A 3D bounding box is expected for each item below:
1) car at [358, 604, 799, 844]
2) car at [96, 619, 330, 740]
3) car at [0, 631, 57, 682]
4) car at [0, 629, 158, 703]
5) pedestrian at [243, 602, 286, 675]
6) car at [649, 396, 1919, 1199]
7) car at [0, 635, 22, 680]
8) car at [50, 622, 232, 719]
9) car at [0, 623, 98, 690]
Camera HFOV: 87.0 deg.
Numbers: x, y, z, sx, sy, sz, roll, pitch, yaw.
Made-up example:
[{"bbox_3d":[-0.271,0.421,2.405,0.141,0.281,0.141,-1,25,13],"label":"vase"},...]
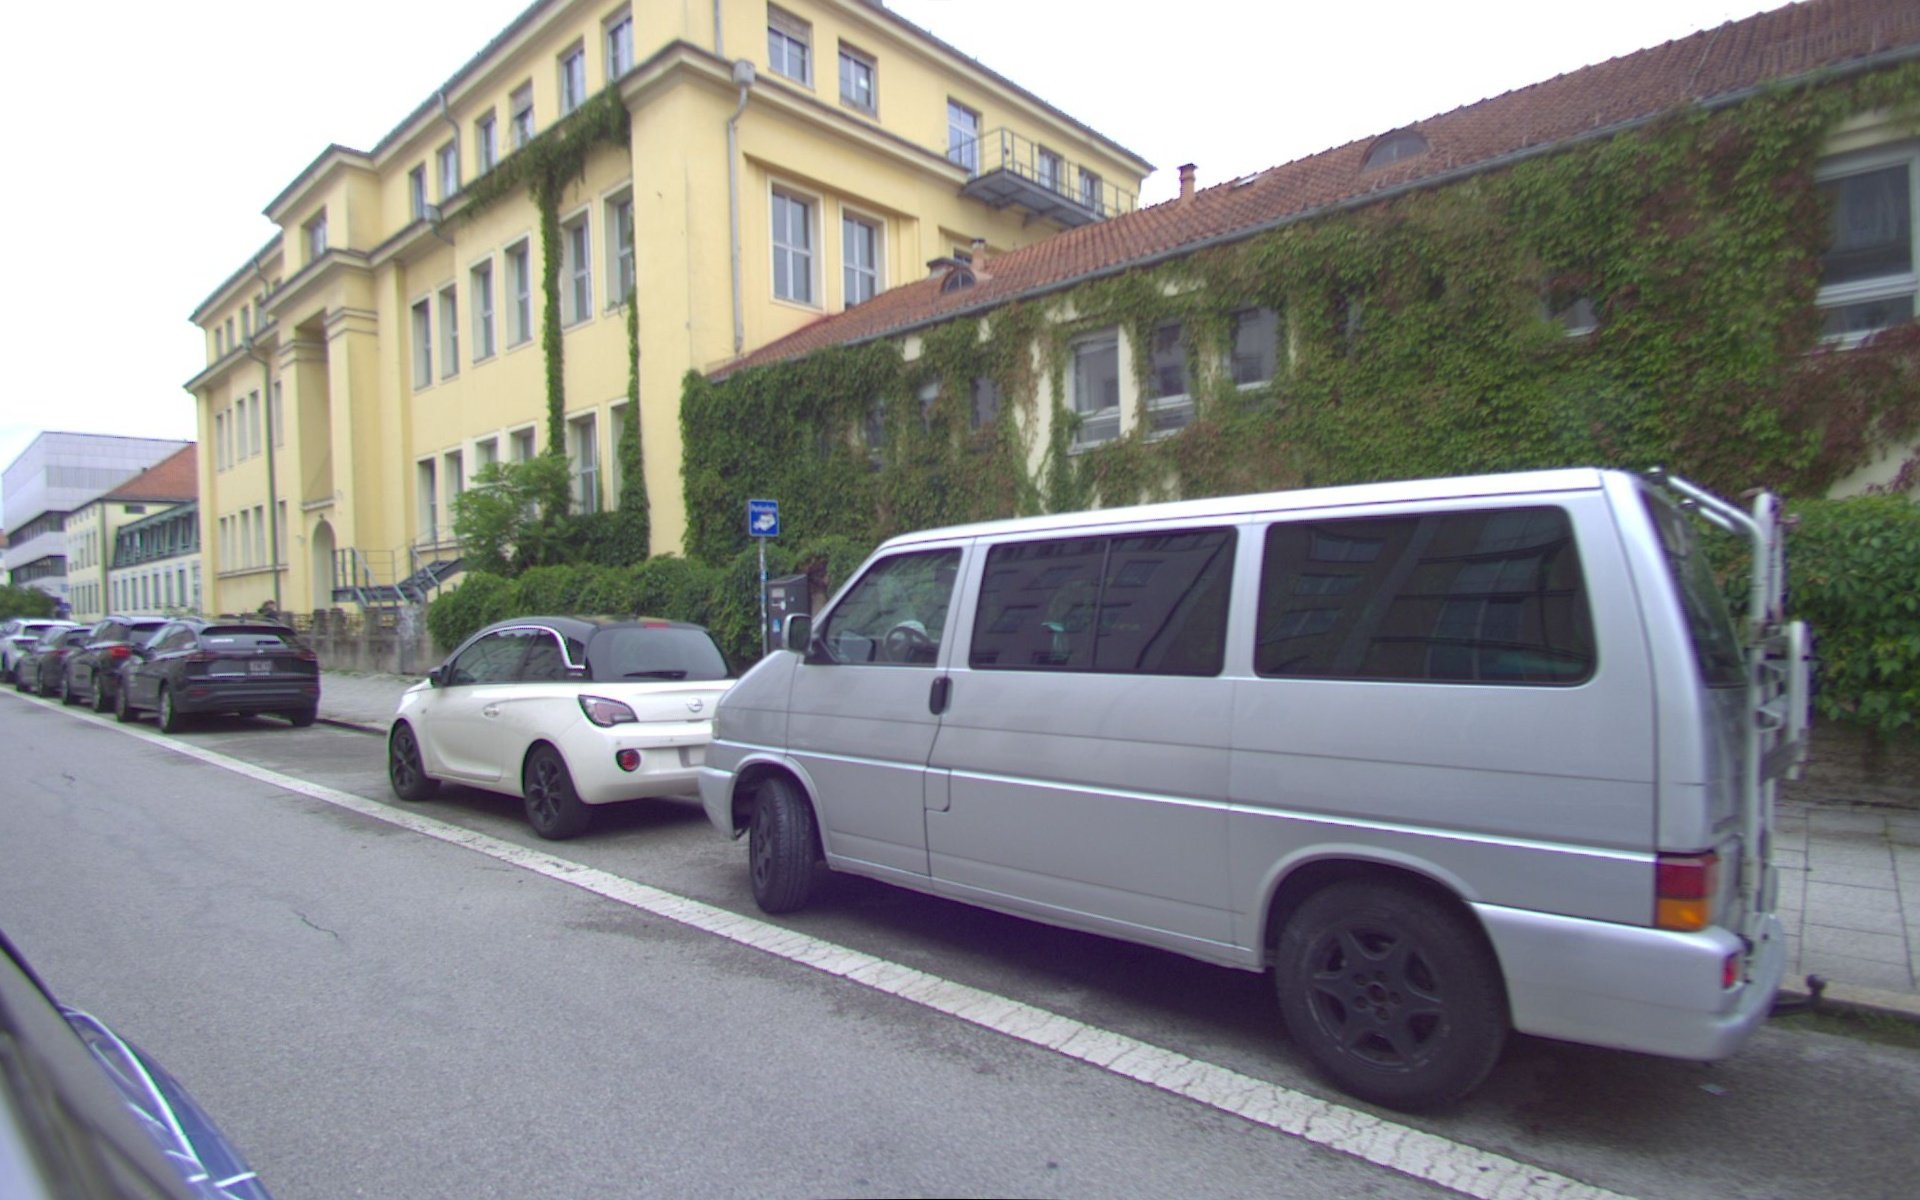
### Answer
[{"bbox_3d":[-3.044,0.806,7.798,3.556,1.420,1.650,-2,-3,40],"label":"car"},{"bbox_3d":[-10.793,1.082,14.517,4.216,1.492,1.700,-2,-4,40],"label":"car"},{"bbox_3d":[-28.762,1.676,30.547,3.913,1.457,1.591,-2,-4,39],"label":"car"},{"bbox_3d":[-18.795,1.375,21.531,4.596,1.419,1.755,-2,-4,39],"label":"car"},{"bbox_3d":[-18.042,0.986,26.265,0.782,1.838,0.766,-2,-1,44],"label":"pedestrian"},{"bbox_3d":[0.827,0.584,4.446,4.878,1.812,1.873,-2,-5,41],"label":"car"},{"bbox_3d":[-32.481,1.875,33.491,3.778,1.450,1.716,-2,-3,41],"label":"car"},{"bbox_3d":[-14.571,1.185,17.934,4.270,1.514,1.751,-2,-3,41],"label":"car"},{"bbox_3d":[-24.677,1.480,26.966,4.295,1.653,1.764,-2,-4,39],"label":"car"}]
